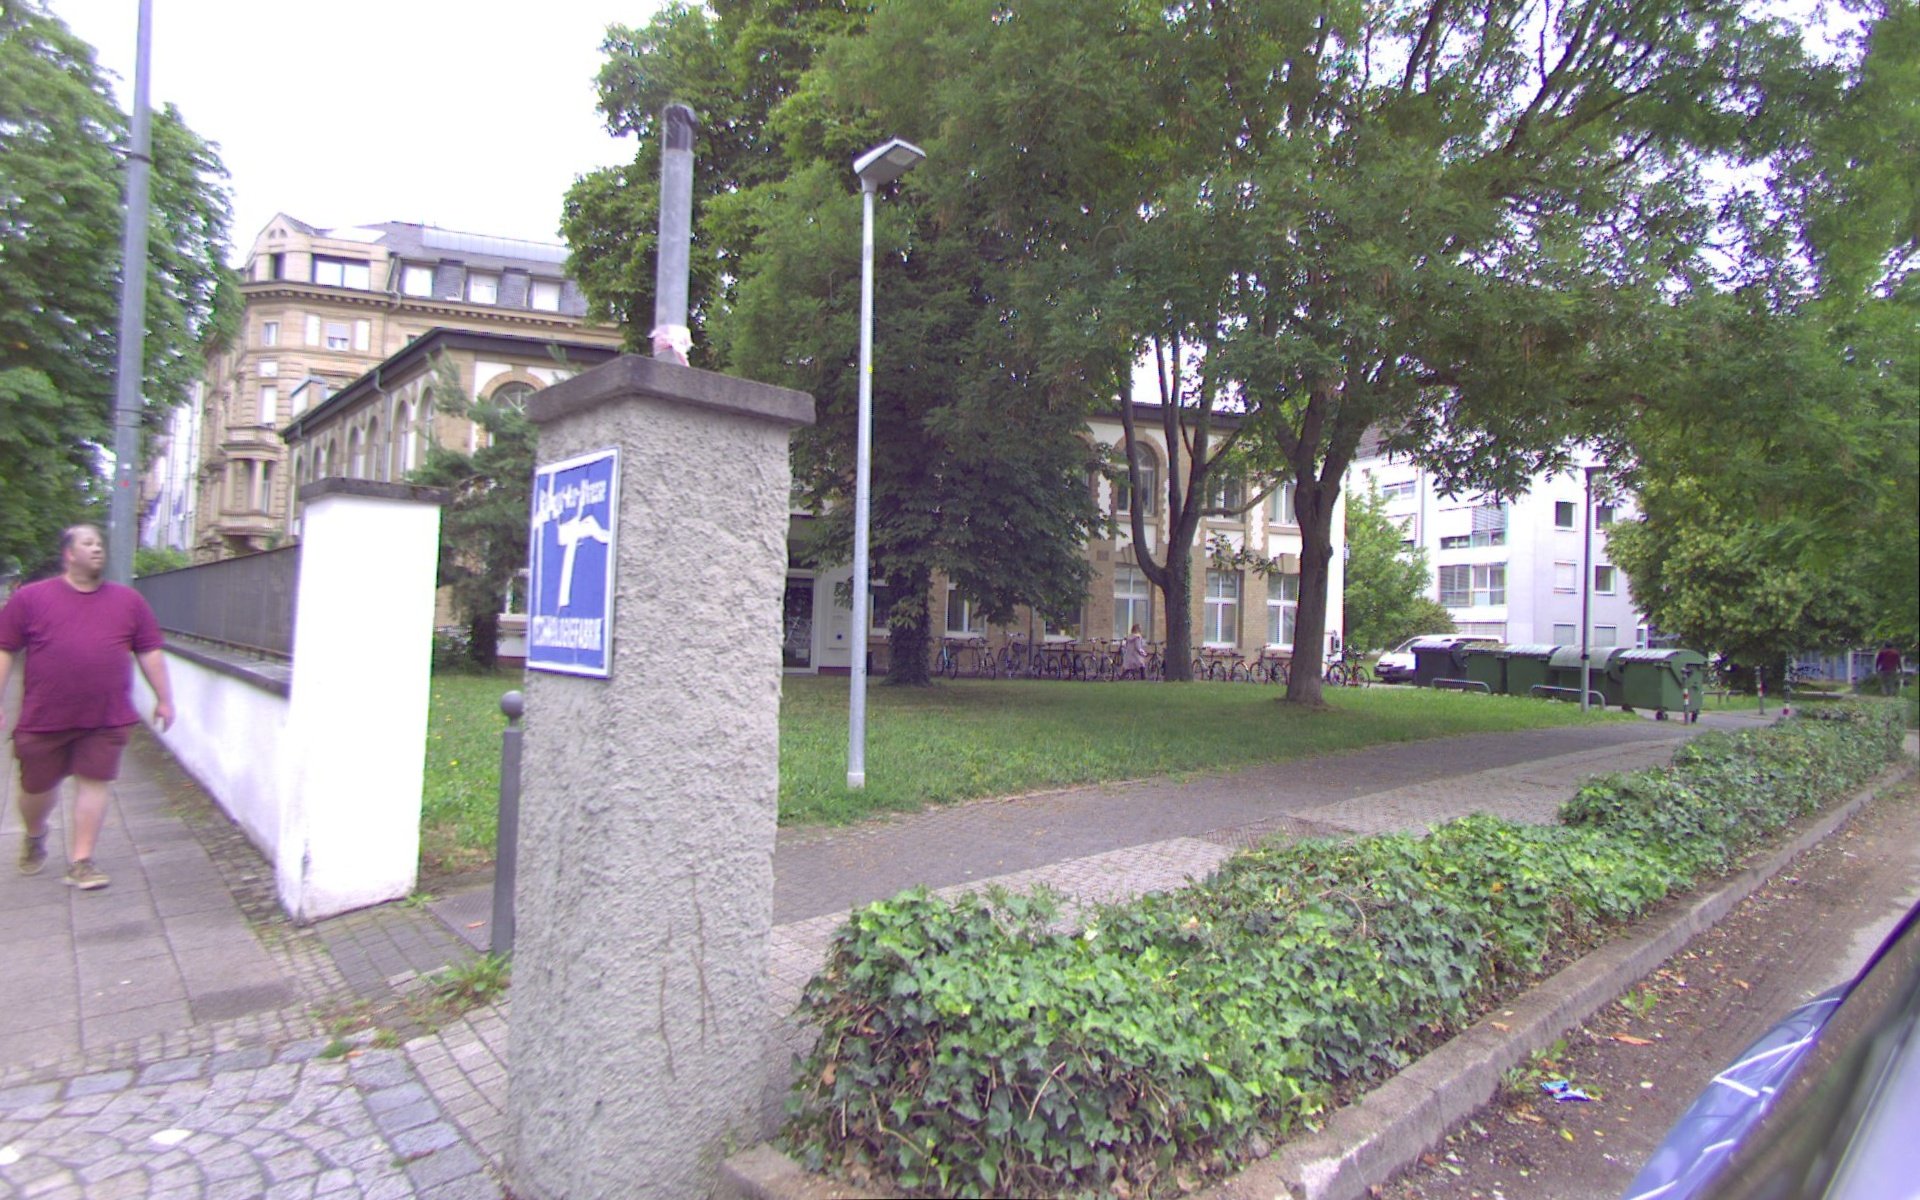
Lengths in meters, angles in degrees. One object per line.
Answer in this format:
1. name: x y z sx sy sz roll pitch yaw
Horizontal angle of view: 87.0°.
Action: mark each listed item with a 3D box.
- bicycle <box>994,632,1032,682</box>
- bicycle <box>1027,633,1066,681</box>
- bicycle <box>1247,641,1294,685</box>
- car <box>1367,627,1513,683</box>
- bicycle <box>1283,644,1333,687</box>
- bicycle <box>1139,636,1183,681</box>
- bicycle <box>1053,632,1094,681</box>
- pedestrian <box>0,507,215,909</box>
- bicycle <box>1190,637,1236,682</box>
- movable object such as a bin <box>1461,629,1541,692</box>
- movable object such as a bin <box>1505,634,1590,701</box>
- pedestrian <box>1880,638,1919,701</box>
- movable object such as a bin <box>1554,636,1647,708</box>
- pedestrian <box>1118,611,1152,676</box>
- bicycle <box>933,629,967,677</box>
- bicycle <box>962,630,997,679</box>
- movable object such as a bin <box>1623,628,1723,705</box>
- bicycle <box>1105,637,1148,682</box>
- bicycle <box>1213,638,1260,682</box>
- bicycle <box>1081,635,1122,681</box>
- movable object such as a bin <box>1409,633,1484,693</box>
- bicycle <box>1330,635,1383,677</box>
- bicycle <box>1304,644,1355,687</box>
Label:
1. bicycle: 1.346 1.454 26.084 0.451 1.128 1.748 2 1 -13
2. bicycle: 2.243 1.460 26.402 0.451 1.129 1.748 2 0 -13
3. bicycle: 8.664 1.746 28.318 0.451 1.129 1.747 2 -2 -11
4. car: 17.648 2.047 37.299 4.673 1.898 1.904 2 -4 -13
5. bicycle: 9.812 1.834 28.587 0.451 1.129 1.747 2 -2 -13
6. bicycle: 5.413 1.567 27.379 0.451 1.129 1.748 2 -1 -13
7. bicycle: 2.971 1.466 26.624 0.451 1.128 1.748 2 1 -13
8. pedestrian: -4.299 0.478 4.953 0.951 1.740 0.797 0 -3 41
9. bicycle: 6.921 1.615 27.799 0.451 1.129 1.747 2 -2 -13
10. movable object such as a bin: 13.229 1.457 24.770 1.085 1.469 1.329 2 -2 -20
11. movable object such as a bin: 13.562 1.543 23.377 1.085 1.469 1.297 2 -2 -20
12. pedestrian: 32.295 2.377 34.597 1.175 2.091 0.796 3 -2 -19
13. movable object such as a bin: 13.828 1.529 21.878 1.085 1.469 1.288 2 -2 -14
14. pedestrian: 4.416 1.100 25.556 0.614 1.607 0.605 2 -2 -14
15. bicycle: -0.258 1.325 25.601 0.451 1.129 1.747 2 -2 -13
16. bicycle: 0.485 1.378 25.954 0.451 1.128 1.748 2 0 -13
17. movable object such as a bin: 14.380 1.324 20.439 1.050 1.452 1.276 2 -2 -6
18. bicycle: 4.426 1.563 26.984 0.451 1.129 1.747 2 -2 -13
19. bicycle: 7.619 1.631 27.915 0.451 1.129 1.747 2 -2 -13
20. bicycle: 3.721 1.520 26.782 0.451 1.129 1.747 2 -2 -13
21. movable object such as a bin: 12.608 1.627 26.257 1.085 1.469 1.365 2 -2 -20
22. bicycle: 11.334 1.598 28.970 0.451 1.129 1.748 2 -2 -14
23. bicycle: 10.497 1.835 28.774 0.451 1.129 1.747 2 -2 -13
